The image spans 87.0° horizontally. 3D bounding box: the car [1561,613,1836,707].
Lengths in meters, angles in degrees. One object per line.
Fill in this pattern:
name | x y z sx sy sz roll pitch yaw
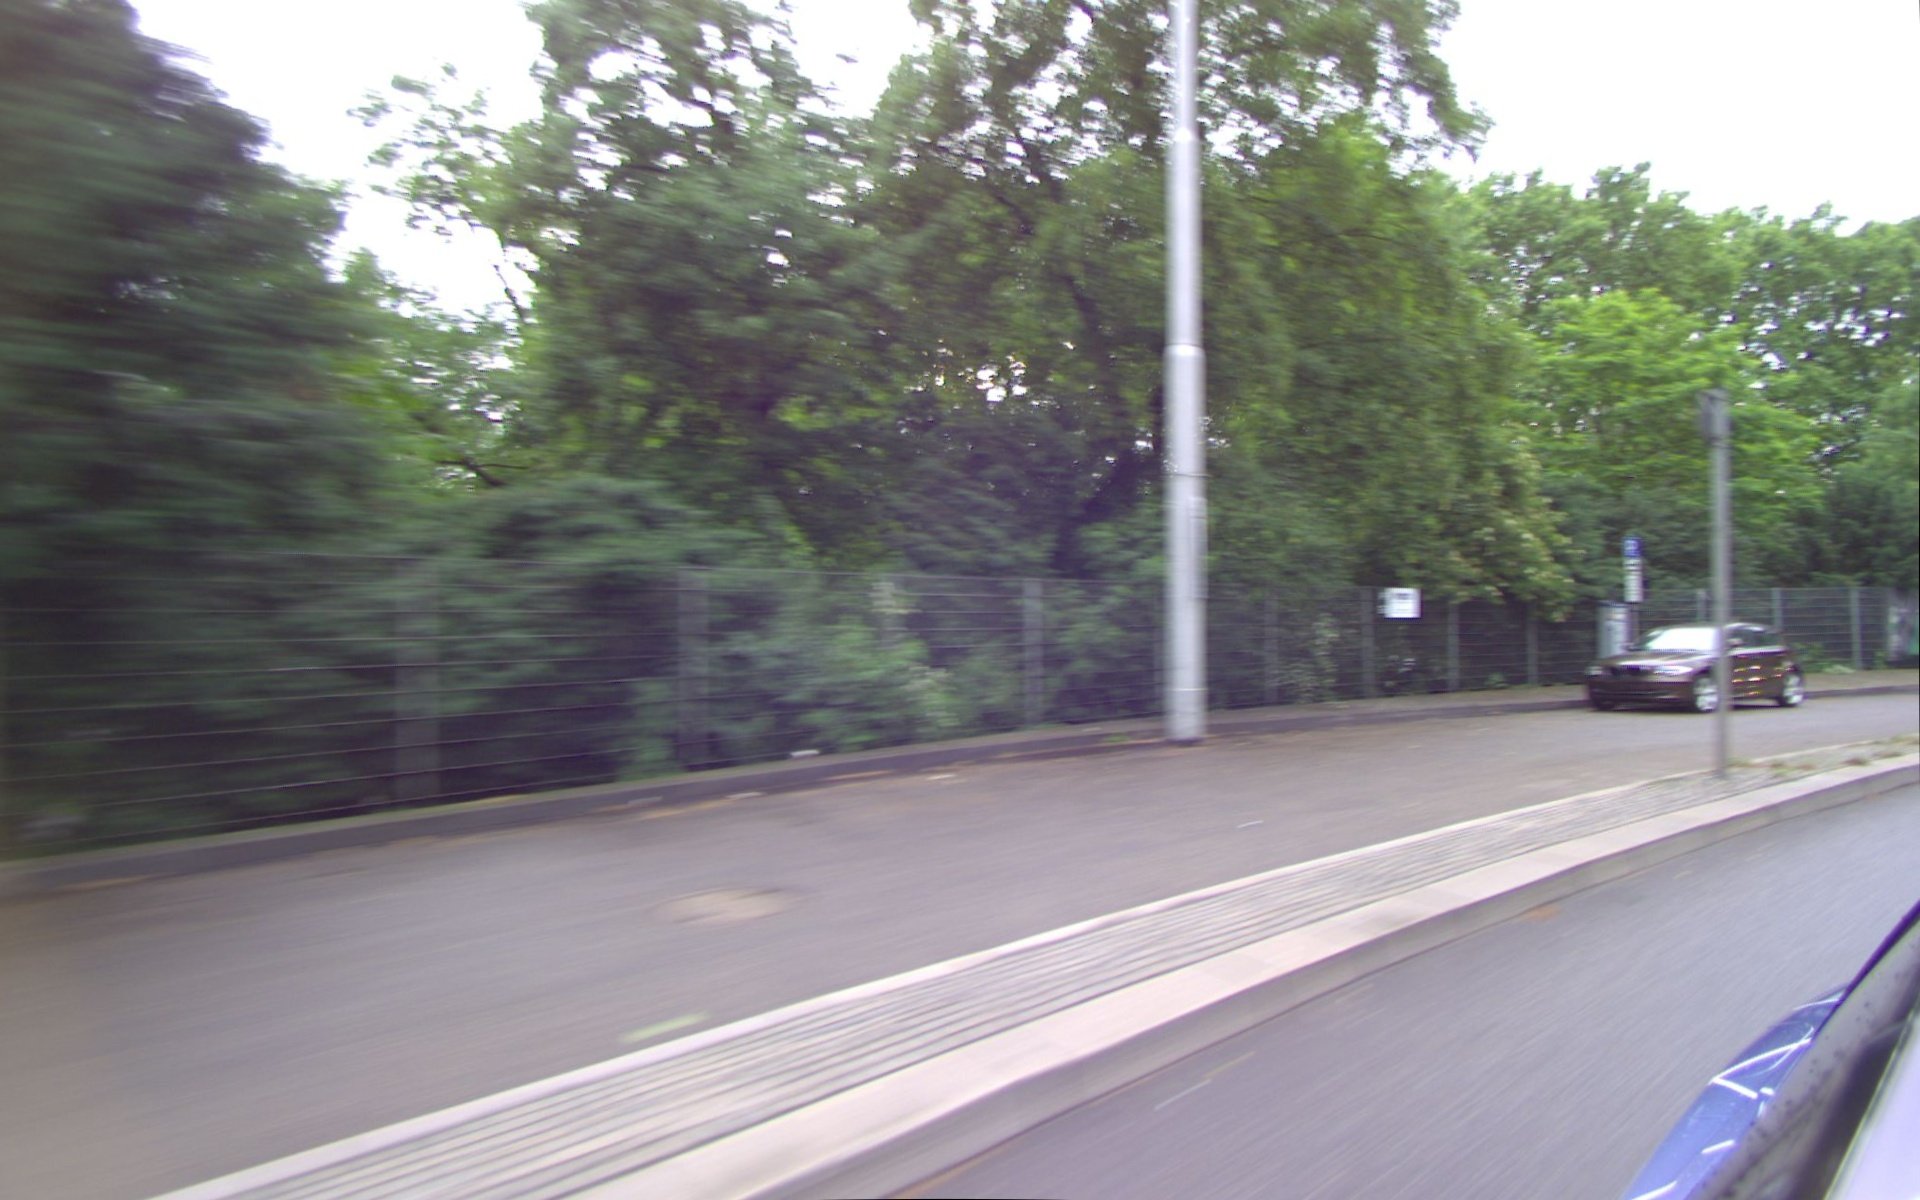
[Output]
car | 12.241 0.961 16.779 4.088 1.395 1.880 0 -4 -25
